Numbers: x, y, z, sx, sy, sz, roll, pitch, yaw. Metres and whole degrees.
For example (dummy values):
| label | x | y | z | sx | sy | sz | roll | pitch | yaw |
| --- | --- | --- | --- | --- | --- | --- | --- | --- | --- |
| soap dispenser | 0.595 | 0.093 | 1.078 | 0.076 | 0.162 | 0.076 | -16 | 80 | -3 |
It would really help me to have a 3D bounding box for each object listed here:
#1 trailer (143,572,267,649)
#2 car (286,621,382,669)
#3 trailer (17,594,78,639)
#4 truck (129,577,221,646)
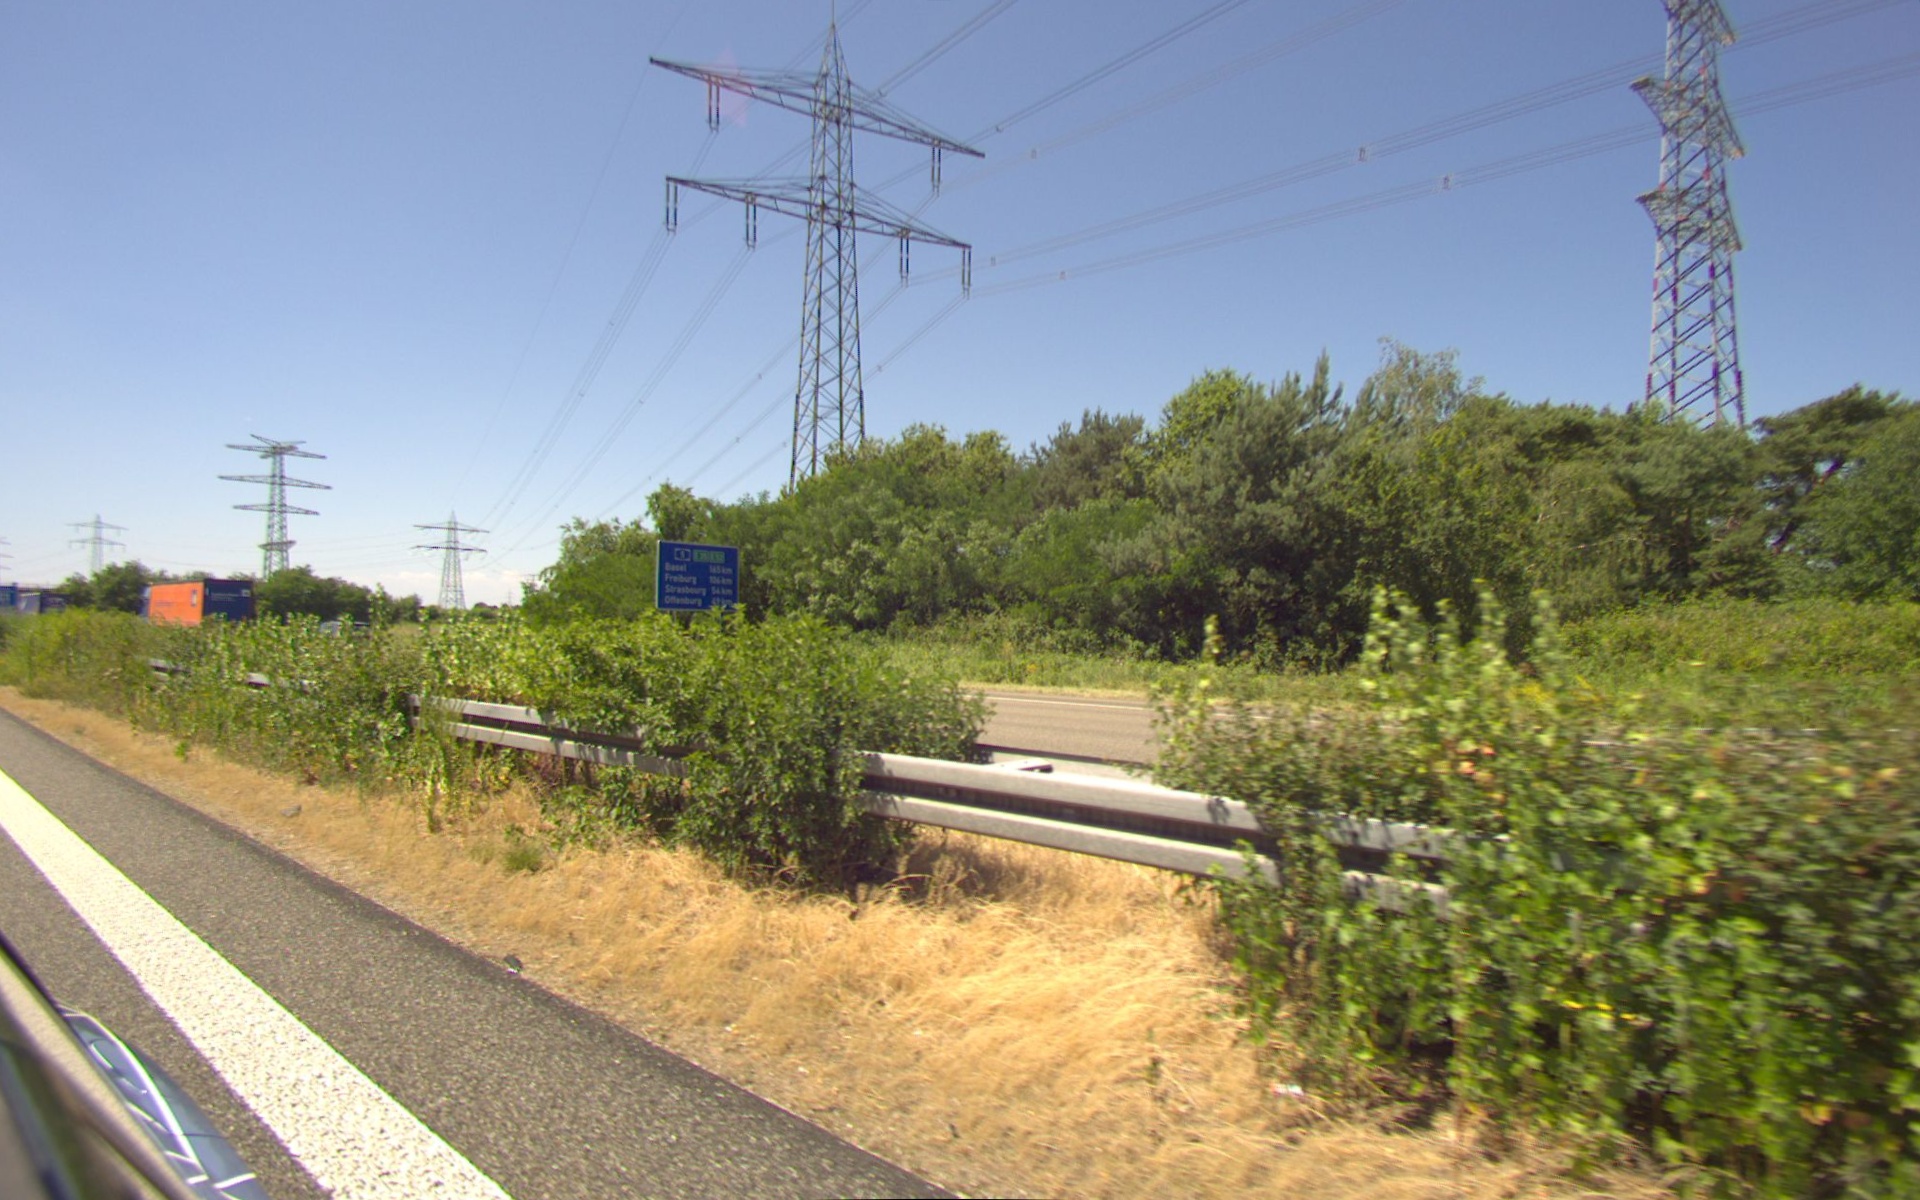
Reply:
| label | x | y | z | sx | sy | sz | roll | pitch | yaw |
| --- | --- | --- | --- | --- | --- | --- | --- | --- | --- |
| trailer | -49.478 | 0.767 | 66.041 | 14.157 | 4.441 | 3.309 | -1 | -5 | 41 |
| car | -21.369 | 1.520 | 34.509 | 3.615 | 1.545 | 1.684 | -1 | -3 | 40 |
| trailer | -98.575 | 1.821 | 109.205 | 14.223 | 4.441 | 3.055 | -1 | -4 | 41 |
| truck | -55.101 | 0.869 | 70.949 | 7.967 | 4.441 | 3.309 | -1 | -5 | 41 |
